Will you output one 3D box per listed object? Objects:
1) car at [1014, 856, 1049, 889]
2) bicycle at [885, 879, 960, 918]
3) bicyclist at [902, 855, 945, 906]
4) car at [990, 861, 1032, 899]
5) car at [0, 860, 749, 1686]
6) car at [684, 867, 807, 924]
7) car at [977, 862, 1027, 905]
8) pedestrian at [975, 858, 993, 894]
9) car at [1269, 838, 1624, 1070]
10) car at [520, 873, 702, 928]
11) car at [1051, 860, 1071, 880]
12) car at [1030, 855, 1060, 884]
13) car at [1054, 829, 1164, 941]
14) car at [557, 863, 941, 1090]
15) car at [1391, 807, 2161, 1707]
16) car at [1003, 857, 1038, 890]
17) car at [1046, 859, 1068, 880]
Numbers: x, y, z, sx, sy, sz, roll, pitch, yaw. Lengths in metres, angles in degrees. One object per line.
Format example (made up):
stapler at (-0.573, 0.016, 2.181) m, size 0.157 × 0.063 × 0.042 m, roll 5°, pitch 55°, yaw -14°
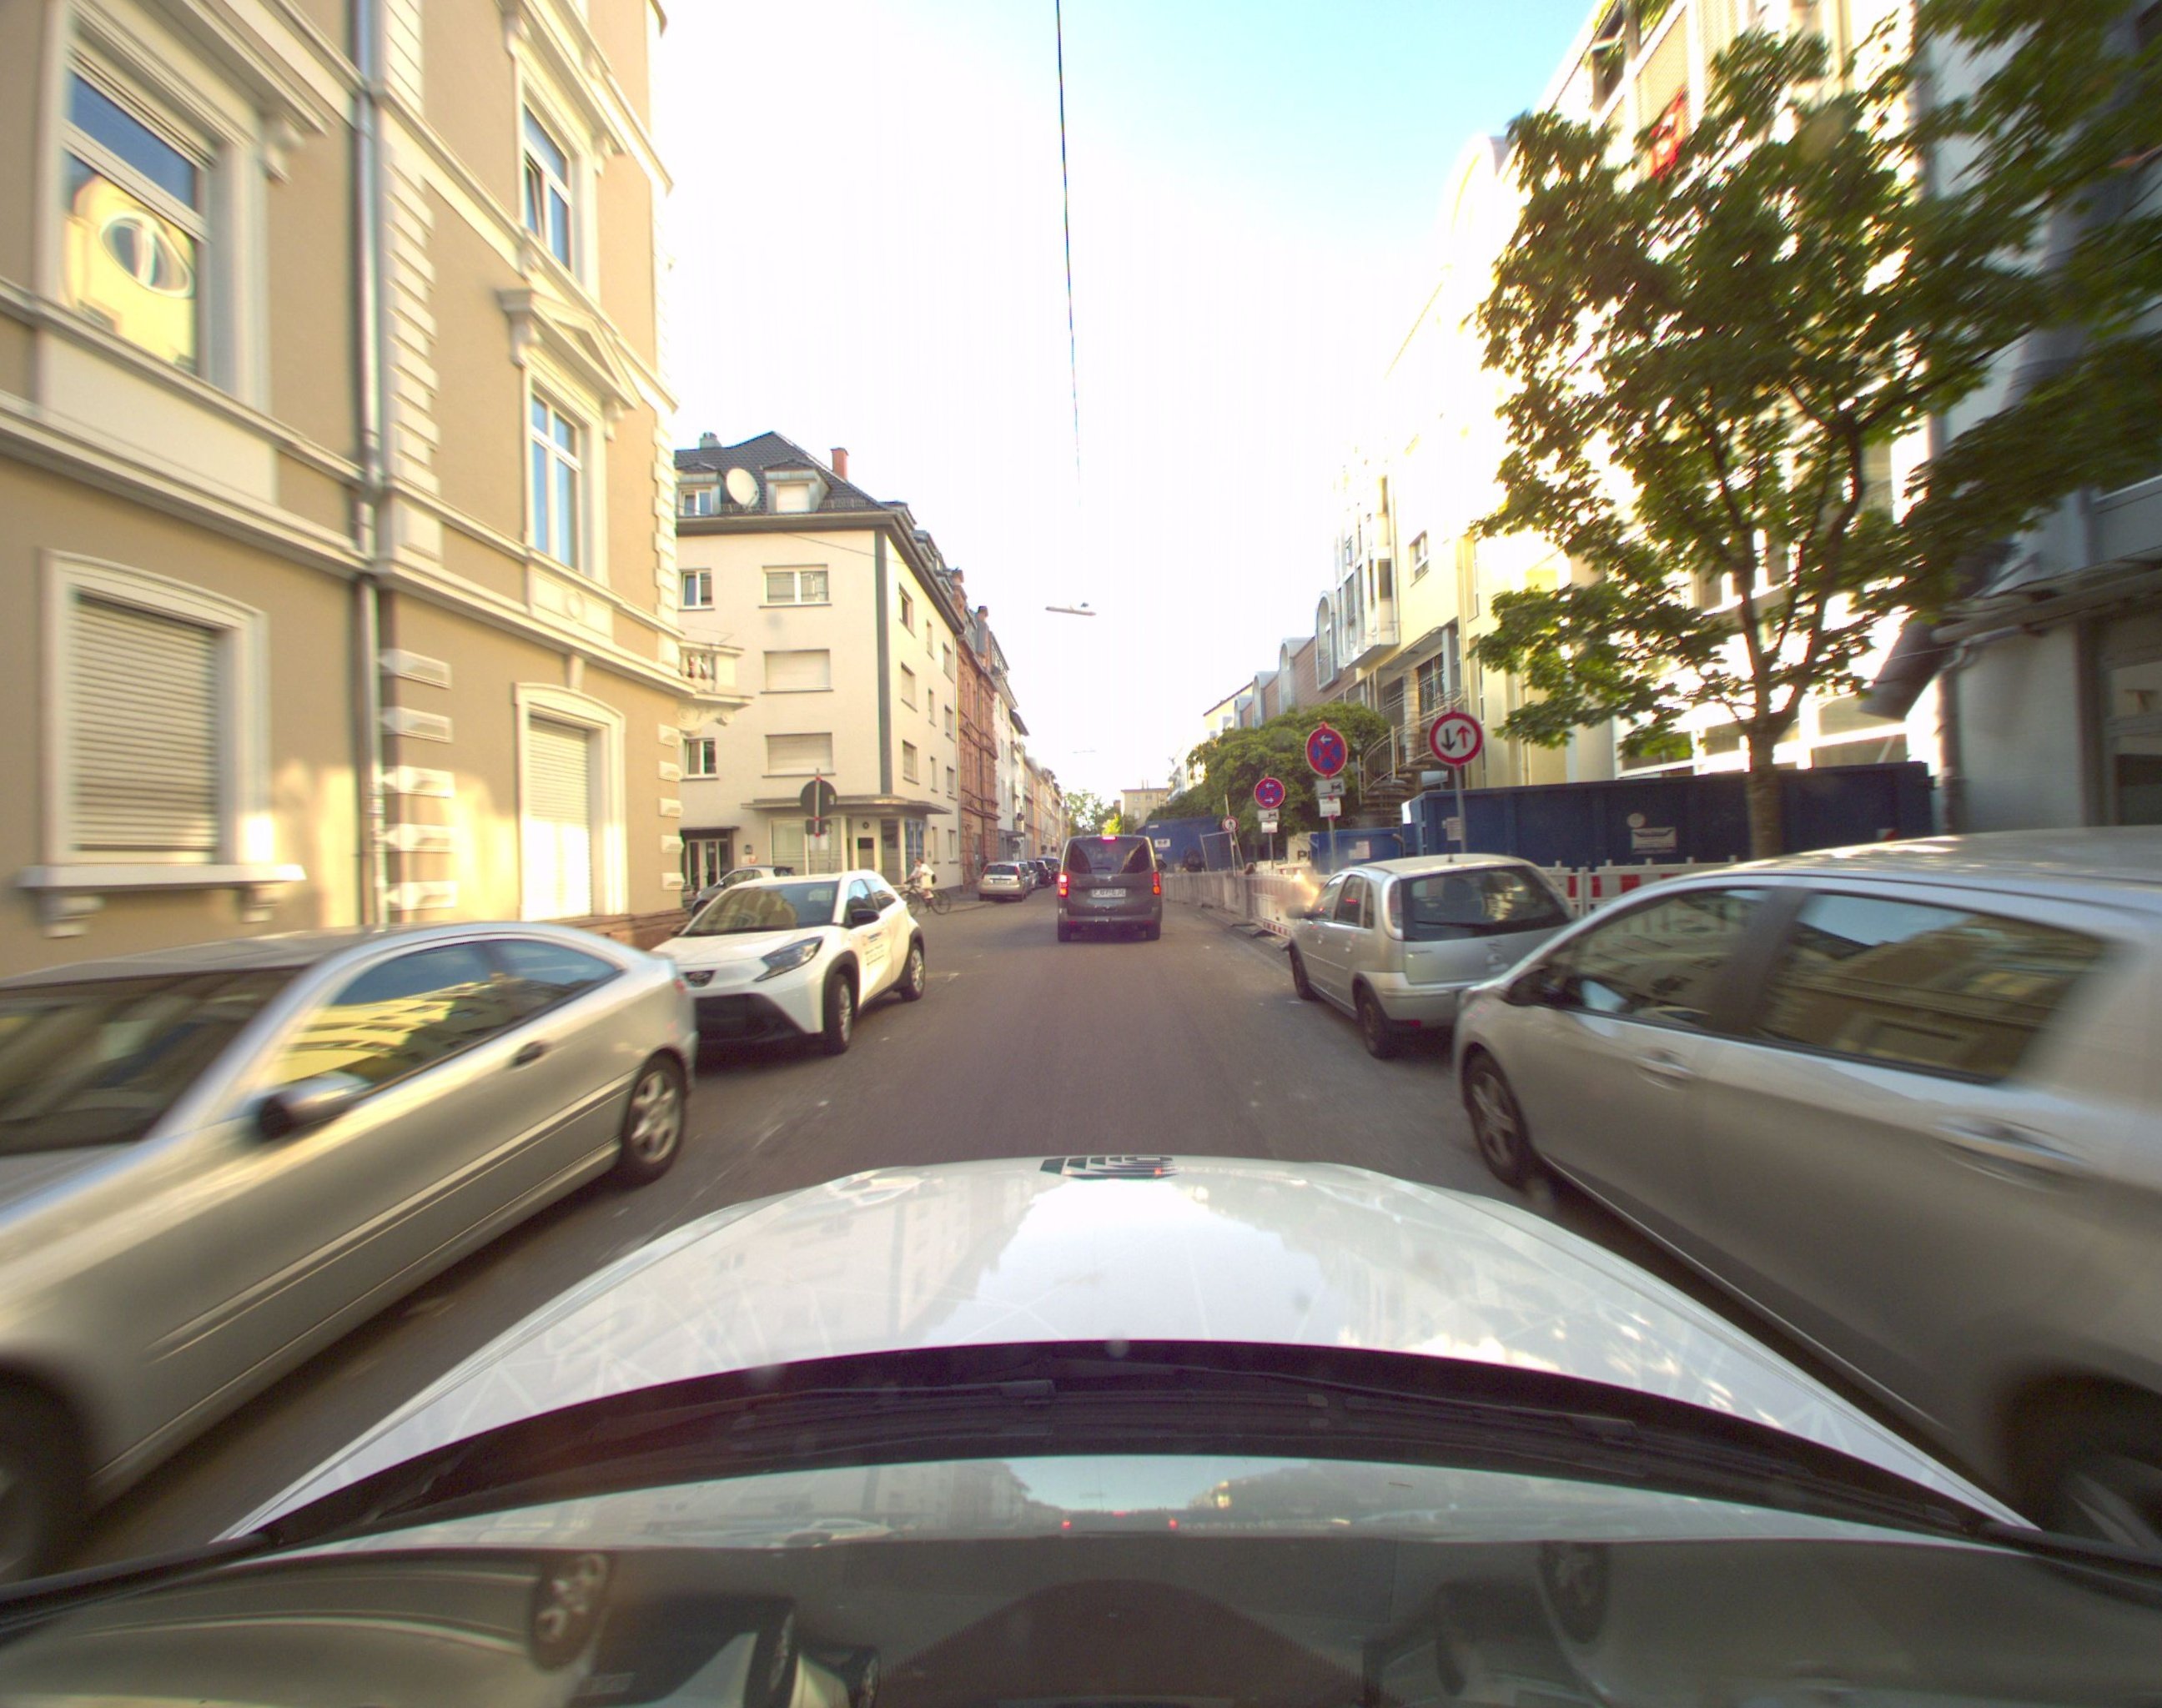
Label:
car at (-2.836, 1.083, 47.269) m, size 1.887 × 1.720 × 3.750 m, roll 3°, pitch -1°, yaw -2°
bicycle at (-4.506, 1.236, 23.294) m, size 0.726 × 1.028 × 2.128 m, roll -1°, pitch -1°, yaw 42°
bicyclist at (-4.505, 0.748, 23.310) m, size 0.726 × 1.412 × 0.946 m, roll -1°, pitch -1°, yaw 42°
car at (-3.095, 1.160, 36.523) m, size 1.652 × 1.525 × 3.414 m, roll 3°, pitch -1°, yaw -2°
car at (-3.055, 0.874, 2.866) m, size 1.914 × 1.560 × 4.266 m, roll -4°, pitch 0°, yaw 0°
car at (-9.367, 1.136, 22.890) m, size 2.776 × 1.540 × 1.594 m, roll 0°, pitch -1°, yaw 1°
car at (-2.964, 1.104, 31.195) m, size 1.652 × 1.460 × 3.414 m, roll 3°, pitch -1°, yaw -2°
pedestrian at (-4.564, 1.020, 38.410) m, size 0.738 × 1.664 × 0.703 m, roll -2°, pitch -1°, yaw -3°
car at (2.877, 0.692, 7.349) m, size 1.669 × 1.476 × 3.733 m, roll -3°, pitch -1°, yaw 4°
car at (-13.278, 1.300, 23.174) m, size 4.191 × 1.403 × 1.603 m, roll -1°, pitch -1°, yaw -1°
car at (-2.013, 1.583, 81.737) m, size 1.887 × 1.847 × 4.344 m, roll 3°, pitch -1°, yaw -2°
car at (-2.486, 1.071, 56.637) m, size 1.887 × 1.847 × 4.344 m, roll 3°, pitch -1°, yaw -2°
car at (0.477, 0.567, 16.045) m, size 1.859 × 1.886 × 4.234 m, roll -1°, pitch -1°, yaw 0°
car at (-2.799, 0.919, 8.097) m, size 1.914 × 1.507 × 4.267 m, roll -4°, pitch 0°, yaw 1°
car at (2.555, 0.664, 2.623) m, size 1.670 × 1.525 × 3.972 m, roll -3°, pitch -1°, yaw 2°
car at (-3.212, 1.044, 43.636) m, size 1.662 × 1.666 × 3.088 m, roll 3°, pitch -1°, yaw -2°
car at (-2.276, 1.485, 76.816) m, size 1.887 × 1.847 × 4.344 m, roll 3°, pitch -1°, yaw -2°
